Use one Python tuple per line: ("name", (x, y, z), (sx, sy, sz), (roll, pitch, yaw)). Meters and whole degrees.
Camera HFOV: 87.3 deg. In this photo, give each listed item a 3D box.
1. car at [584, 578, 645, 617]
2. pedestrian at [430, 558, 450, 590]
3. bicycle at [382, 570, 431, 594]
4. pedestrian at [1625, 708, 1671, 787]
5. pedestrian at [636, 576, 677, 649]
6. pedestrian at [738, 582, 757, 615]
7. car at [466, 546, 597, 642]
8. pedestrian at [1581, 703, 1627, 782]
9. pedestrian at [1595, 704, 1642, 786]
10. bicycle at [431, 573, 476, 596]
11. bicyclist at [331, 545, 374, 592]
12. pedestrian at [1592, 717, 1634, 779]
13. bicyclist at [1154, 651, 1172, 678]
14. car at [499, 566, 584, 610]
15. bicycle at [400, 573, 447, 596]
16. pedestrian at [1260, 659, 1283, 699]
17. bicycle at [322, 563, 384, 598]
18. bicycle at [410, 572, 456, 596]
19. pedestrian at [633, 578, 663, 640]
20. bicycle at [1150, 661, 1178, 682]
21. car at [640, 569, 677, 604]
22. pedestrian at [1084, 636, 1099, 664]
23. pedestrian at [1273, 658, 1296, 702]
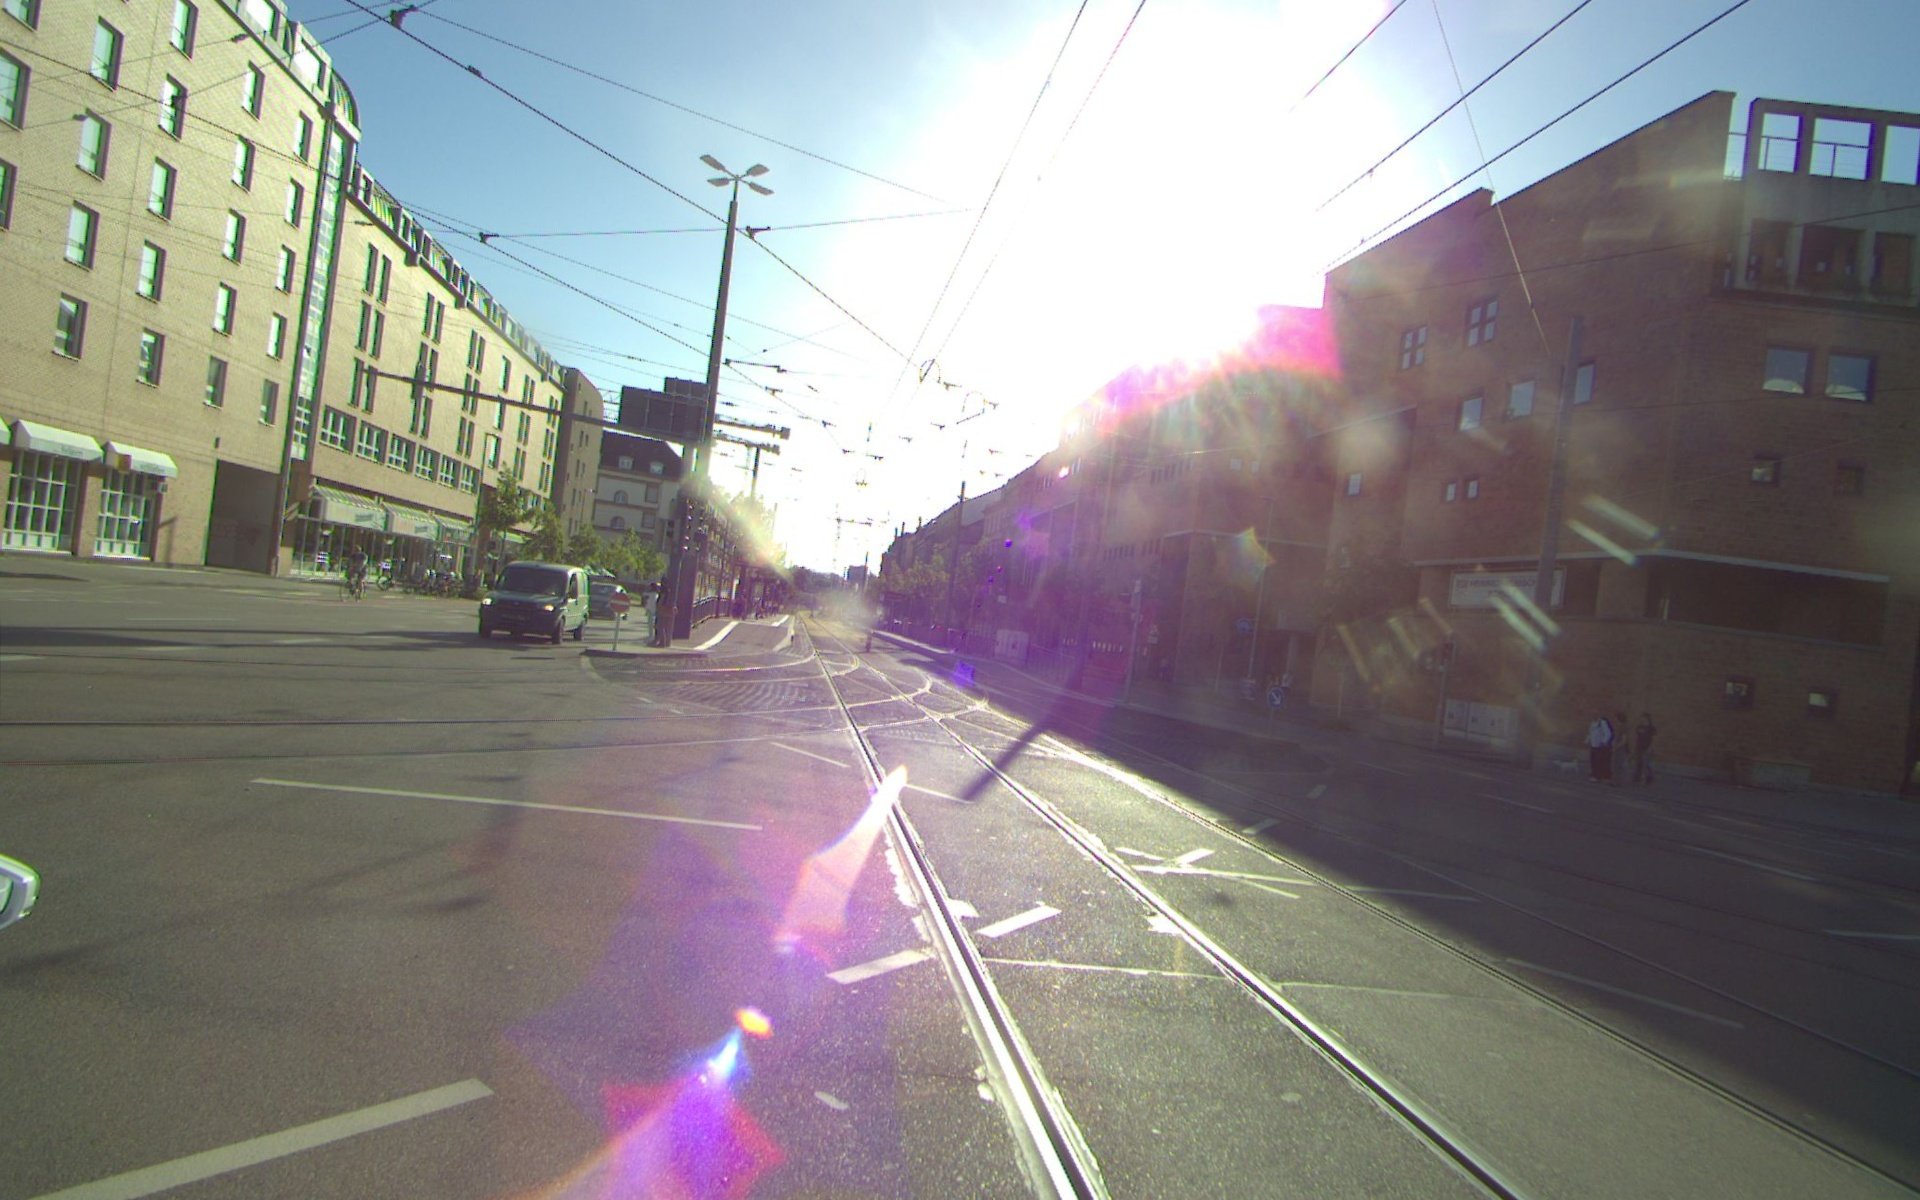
("car", (-15.430, -0.095, 45.097), (1.813, 1.466, 4.292), (5, -1, -10))
("pedestrian", (-30.219, -1.519, 58.456), (0.706, 1.786, 0.565), (6, 0, -6))
("bicycle", (-26.070, -0.849, 47.408), (2.002, 0.855, 0.483), (7, 0, 1))
("pedestrian", (16.709, 3.573, 24.449), (0.564, 1.808, 0.547), (6, 0, -17))
("pedestrian", (-7.673, 0.313, 25.459), (0.711, 1.748, 0.594), (7, 0, -8))
("pedestrian", (-13.237, -0.095, 62.727), (0.851, 1.910, 0.734), (7, 1, -19))
("car", (-9.738, -0.104, 23.196), (1.814, 1.858, 4.100), (5, -1, -11))
("pedestrian", (15.651, 3.457, 24.444), (0.564, 1.808, 0.547), (6, 0, -17))
("pedestrian", (15.508, 3.405, 23.686), (0.564, 1.808, 0.547), (6, 0, -17))
("bicycle", (-25.971, -0.796, 51.566), (2.002, 0.932, 0.483), (6, 0, 1))
("bicyclist", (-19.739, -1.018, 32.694), (0.799, 1.394, 0.924), (6, 0, -10))
("pedestrian", (16.728, 3.790, 25.784), (0.542, 1.495, 0.569), (6, 1, -26))
("bicyclist", (10.975, 3.459, 54.381), (0.636, 1.355, 0.652), (7, 0, -8))
("car", (-14.619, -0.376, 35.404), (1.814, 1.284, 4.223), (5, -1, -10))
("bicycle", (-26.121, -0.747, 48.999), (2.002, 0.855, 0.483), (7, 0, 1))
("pedestrian", (14.640, 3.709, 47.345), (0.631, 1.808, 0.688), (6, 0, -6))
("bicycle", (-19.816, -0.611, 32.896), (0.798, 1.003, 2.505), (6, -1, -10))
("bicycle", (-26.376, -0.793, 50.338), (2.002, 0.932, 0.483), (6, 0, 1))
("pedestrian", (-8.480, 0.234, 27.327), (0.574, 1.596, 0.643), (7, 0, -22))
("bicycle", (10.957, 3.815, 54.177), (0.639, 0.915, 2.343), (7, -1, -7))
("car", (-29.645, -1.330, 99.179), (2.346, 3.035, 8.451), (7, 0, -11))
("pedestrian", (8.712, 3.317, 66.645), (0.631, 1.808, 0.687), (6, 0, -8))
("pedestrian", (14.203, 3.490, 44.057), (0.539, 1.810, 0.572), (7, 3, -6))
